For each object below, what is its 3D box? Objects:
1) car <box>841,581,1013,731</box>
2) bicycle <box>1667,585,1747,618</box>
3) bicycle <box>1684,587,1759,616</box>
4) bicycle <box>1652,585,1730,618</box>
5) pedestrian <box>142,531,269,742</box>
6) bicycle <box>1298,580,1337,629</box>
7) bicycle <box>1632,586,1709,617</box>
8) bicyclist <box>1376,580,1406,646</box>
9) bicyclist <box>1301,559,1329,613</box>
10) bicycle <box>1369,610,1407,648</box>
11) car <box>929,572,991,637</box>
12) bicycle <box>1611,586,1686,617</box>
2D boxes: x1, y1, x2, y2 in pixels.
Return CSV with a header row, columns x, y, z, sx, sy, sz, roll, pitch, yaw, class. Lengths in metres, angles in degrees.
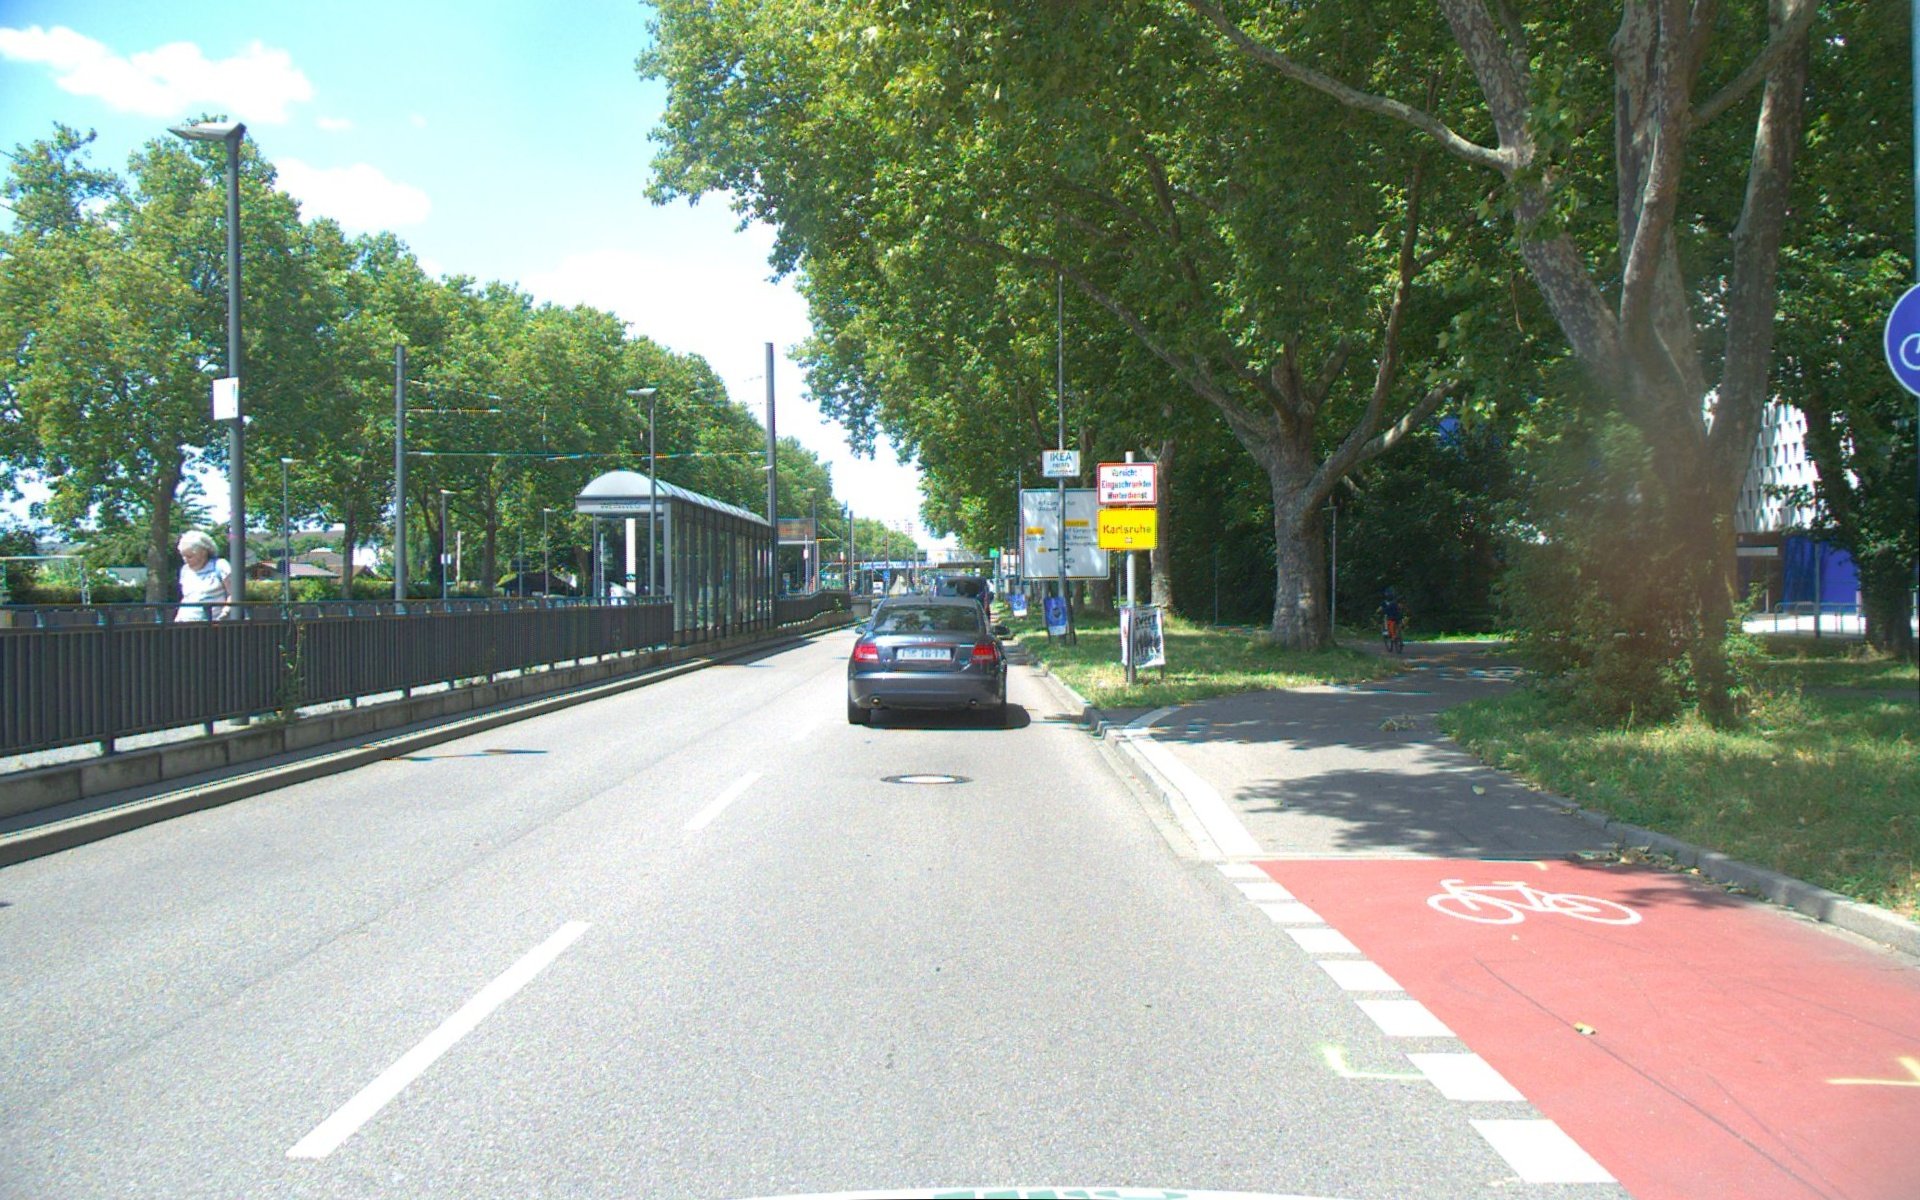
x,y,z,sx,sy,sz,roll,pitch,yaw,class
-0.344,0.568,19.517,1.804,1.510,4.001,0,2,0,car
26.090,0.050,57.788,2.495,1.130,0.758,0,0,-4,bicycle
26.128,0.050,56.789,2.270,0.977,0.758,0,0,-4,bicycle
26.026,0.050,58.896,2.495,1.130,0.758,0,0,-4,bicycle
-6.229,0.292,13.686,0.717,1.694,0.742,0,0,0,pedestrian
10.855,0.126,50.241,0.598,1.444,2.662,0,0,0,bicycle
25.768,0.045,59.973,2.495,1.130,0.758,0,0,-4,bicycle
10.877,0.324,41.770,0.609,1.638,0.817,0,1,6,bicyclist
10.821,-0.410,50.432,0.645,1.627,1.053,0,0,1,bicyclist
10.810,0.718,41.807,0.631,0.902,2.025,0,0,6,bicycle
0.045,0.122,53.737,1.810,1.993,4.146,1,0,2,car
25.493,0.041,61.236,2.495,1.130,0.758,0,0,-4,bicycle
